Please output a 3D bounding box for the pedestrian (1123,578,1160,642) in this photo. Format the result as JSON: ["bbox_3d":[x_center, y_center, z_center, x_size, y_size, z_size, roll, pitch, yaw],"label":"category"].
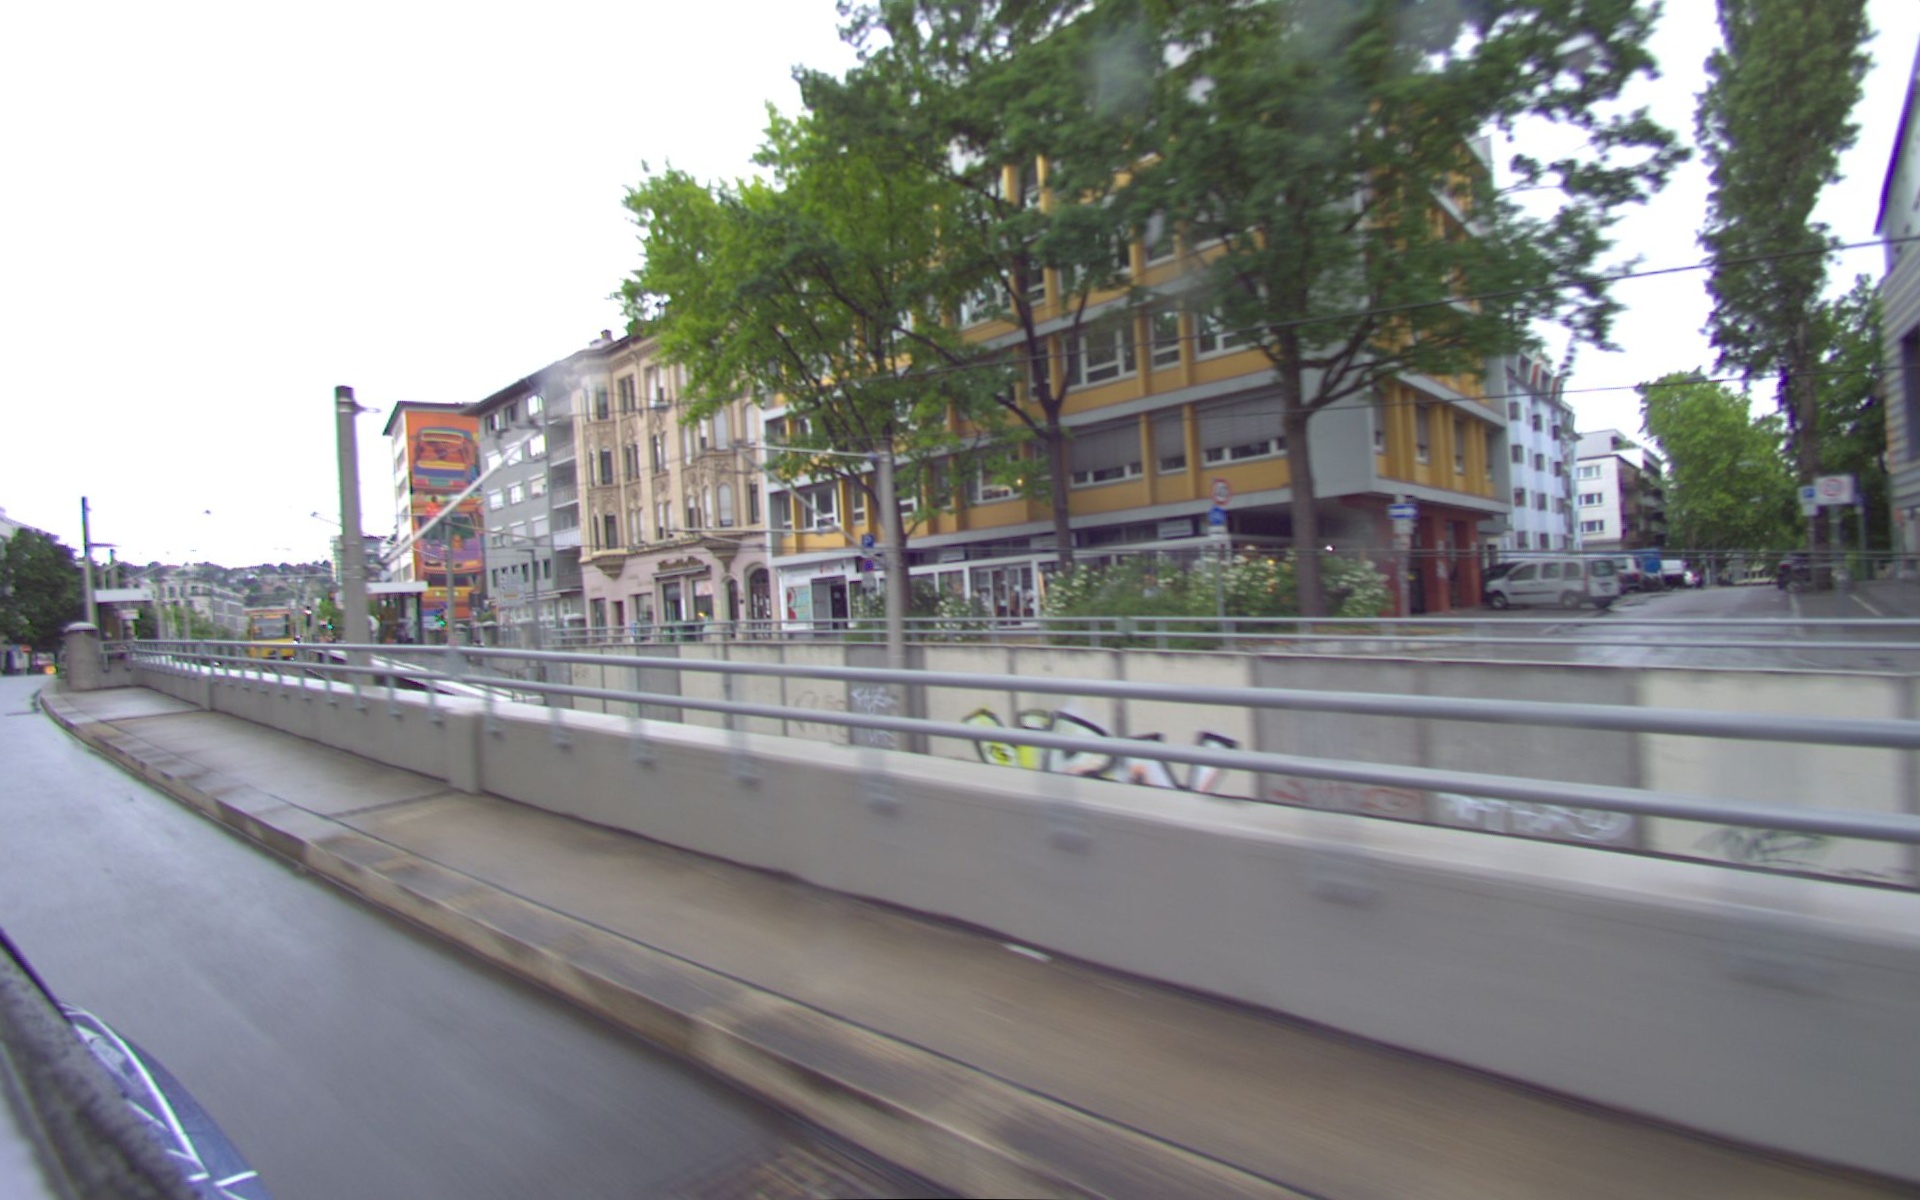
[{"bbox_3d":[5.320,0.303,29.689,0.830,1.863,0.658,-2,-2,44],"label":"pedestrian"}]

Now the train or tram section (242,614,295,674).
[{"bbox_3d":[-50.242,3.296,73.451,2.742,3.719,9.737,-4,-2,-35],"label":"train or tram section"}]

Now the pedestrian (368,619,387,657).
[{"bbox_3d":[-26.674,1.745,46.375,0.624,1.673,0.684,-3,-1,-35],"label":"pedestrian"}]

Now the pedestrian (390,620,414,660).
[{"bbox_3d":[-24.199,1.745,43.857,0.761,1.661,0.779,4,-5,-34],"label":"pedestrian"}]

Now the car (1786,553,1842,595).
[{"bbox_3d":[37.166,-1.155,44.021,1.672,1.696,4.013,-2,0,43],"label":"car"}]

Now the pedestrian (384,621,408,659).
[{"bbox_3d":[-25.220,1.804,45.251,0.761,1.661,0.779,4,-5,-34],"label":"pedestrian"}]

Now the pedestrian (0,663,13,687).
[{"bbox_3d":[-71.292,5.605,75.659,0.709,1.775,0.960,-2,-3,-42],"label":"pedestrian"}]

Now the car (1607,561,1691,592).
[{"bbox_3d":[43.304,-1.448,63.632,1.743,1.740,4.007,-2,0,-40],"label":"car"}]

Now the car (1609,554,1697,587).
[{"bbox_3d":[41.359,-1.749,60.474,1.802,1.800,3.963,-2,0,-40],"label":"car"}]

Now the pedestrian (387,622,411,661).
[{"bbox_3d":[-24.697,1.843,44.543,0.761,1.661,0.779,4,-5,-34],"label":"pedestrian"}]

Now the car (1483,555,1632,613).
[{"bbox_3d":[20.254,-0.520,34.479,1.799,1.800,4.013,-2,1,-24],"label":"car"}]

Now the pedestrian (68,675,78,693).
[{"bbox_3d":[-83.823,7.973,95.630,0.551,1.636,0.486,-4,-3,-33],"label":"pedestrian"}]

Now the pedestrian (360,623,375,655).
[{"bbox_3d":[-30.121,1.985,51.471,0.550,1.549,0.518,-2,1,-38],"label":"pedestrian"}]

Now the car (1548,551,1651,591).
[{"bbox_3d":[32.392,-1.455,51.331,1.802,1.800,4.007,-2,0,-40],"label":"car"}]

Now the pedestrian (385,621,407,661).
[{"bbox_3d":[-23.859,1.725,42.807,0.668,1.661,0.898,3,-5,-34],"label":"pedestrian"}]

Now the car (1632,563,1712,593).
[{"bbox_3d":[47.330,-1.451,67.324,1.802,1.800,4.007,-2,0,-40],"label":"car"}]

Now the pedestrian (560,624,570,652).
[{"bbox_3d":[-24.386,2.326,62.454,0.415,1.695,0.609,-4,-1,-27],"label":"pedestrian"}]
